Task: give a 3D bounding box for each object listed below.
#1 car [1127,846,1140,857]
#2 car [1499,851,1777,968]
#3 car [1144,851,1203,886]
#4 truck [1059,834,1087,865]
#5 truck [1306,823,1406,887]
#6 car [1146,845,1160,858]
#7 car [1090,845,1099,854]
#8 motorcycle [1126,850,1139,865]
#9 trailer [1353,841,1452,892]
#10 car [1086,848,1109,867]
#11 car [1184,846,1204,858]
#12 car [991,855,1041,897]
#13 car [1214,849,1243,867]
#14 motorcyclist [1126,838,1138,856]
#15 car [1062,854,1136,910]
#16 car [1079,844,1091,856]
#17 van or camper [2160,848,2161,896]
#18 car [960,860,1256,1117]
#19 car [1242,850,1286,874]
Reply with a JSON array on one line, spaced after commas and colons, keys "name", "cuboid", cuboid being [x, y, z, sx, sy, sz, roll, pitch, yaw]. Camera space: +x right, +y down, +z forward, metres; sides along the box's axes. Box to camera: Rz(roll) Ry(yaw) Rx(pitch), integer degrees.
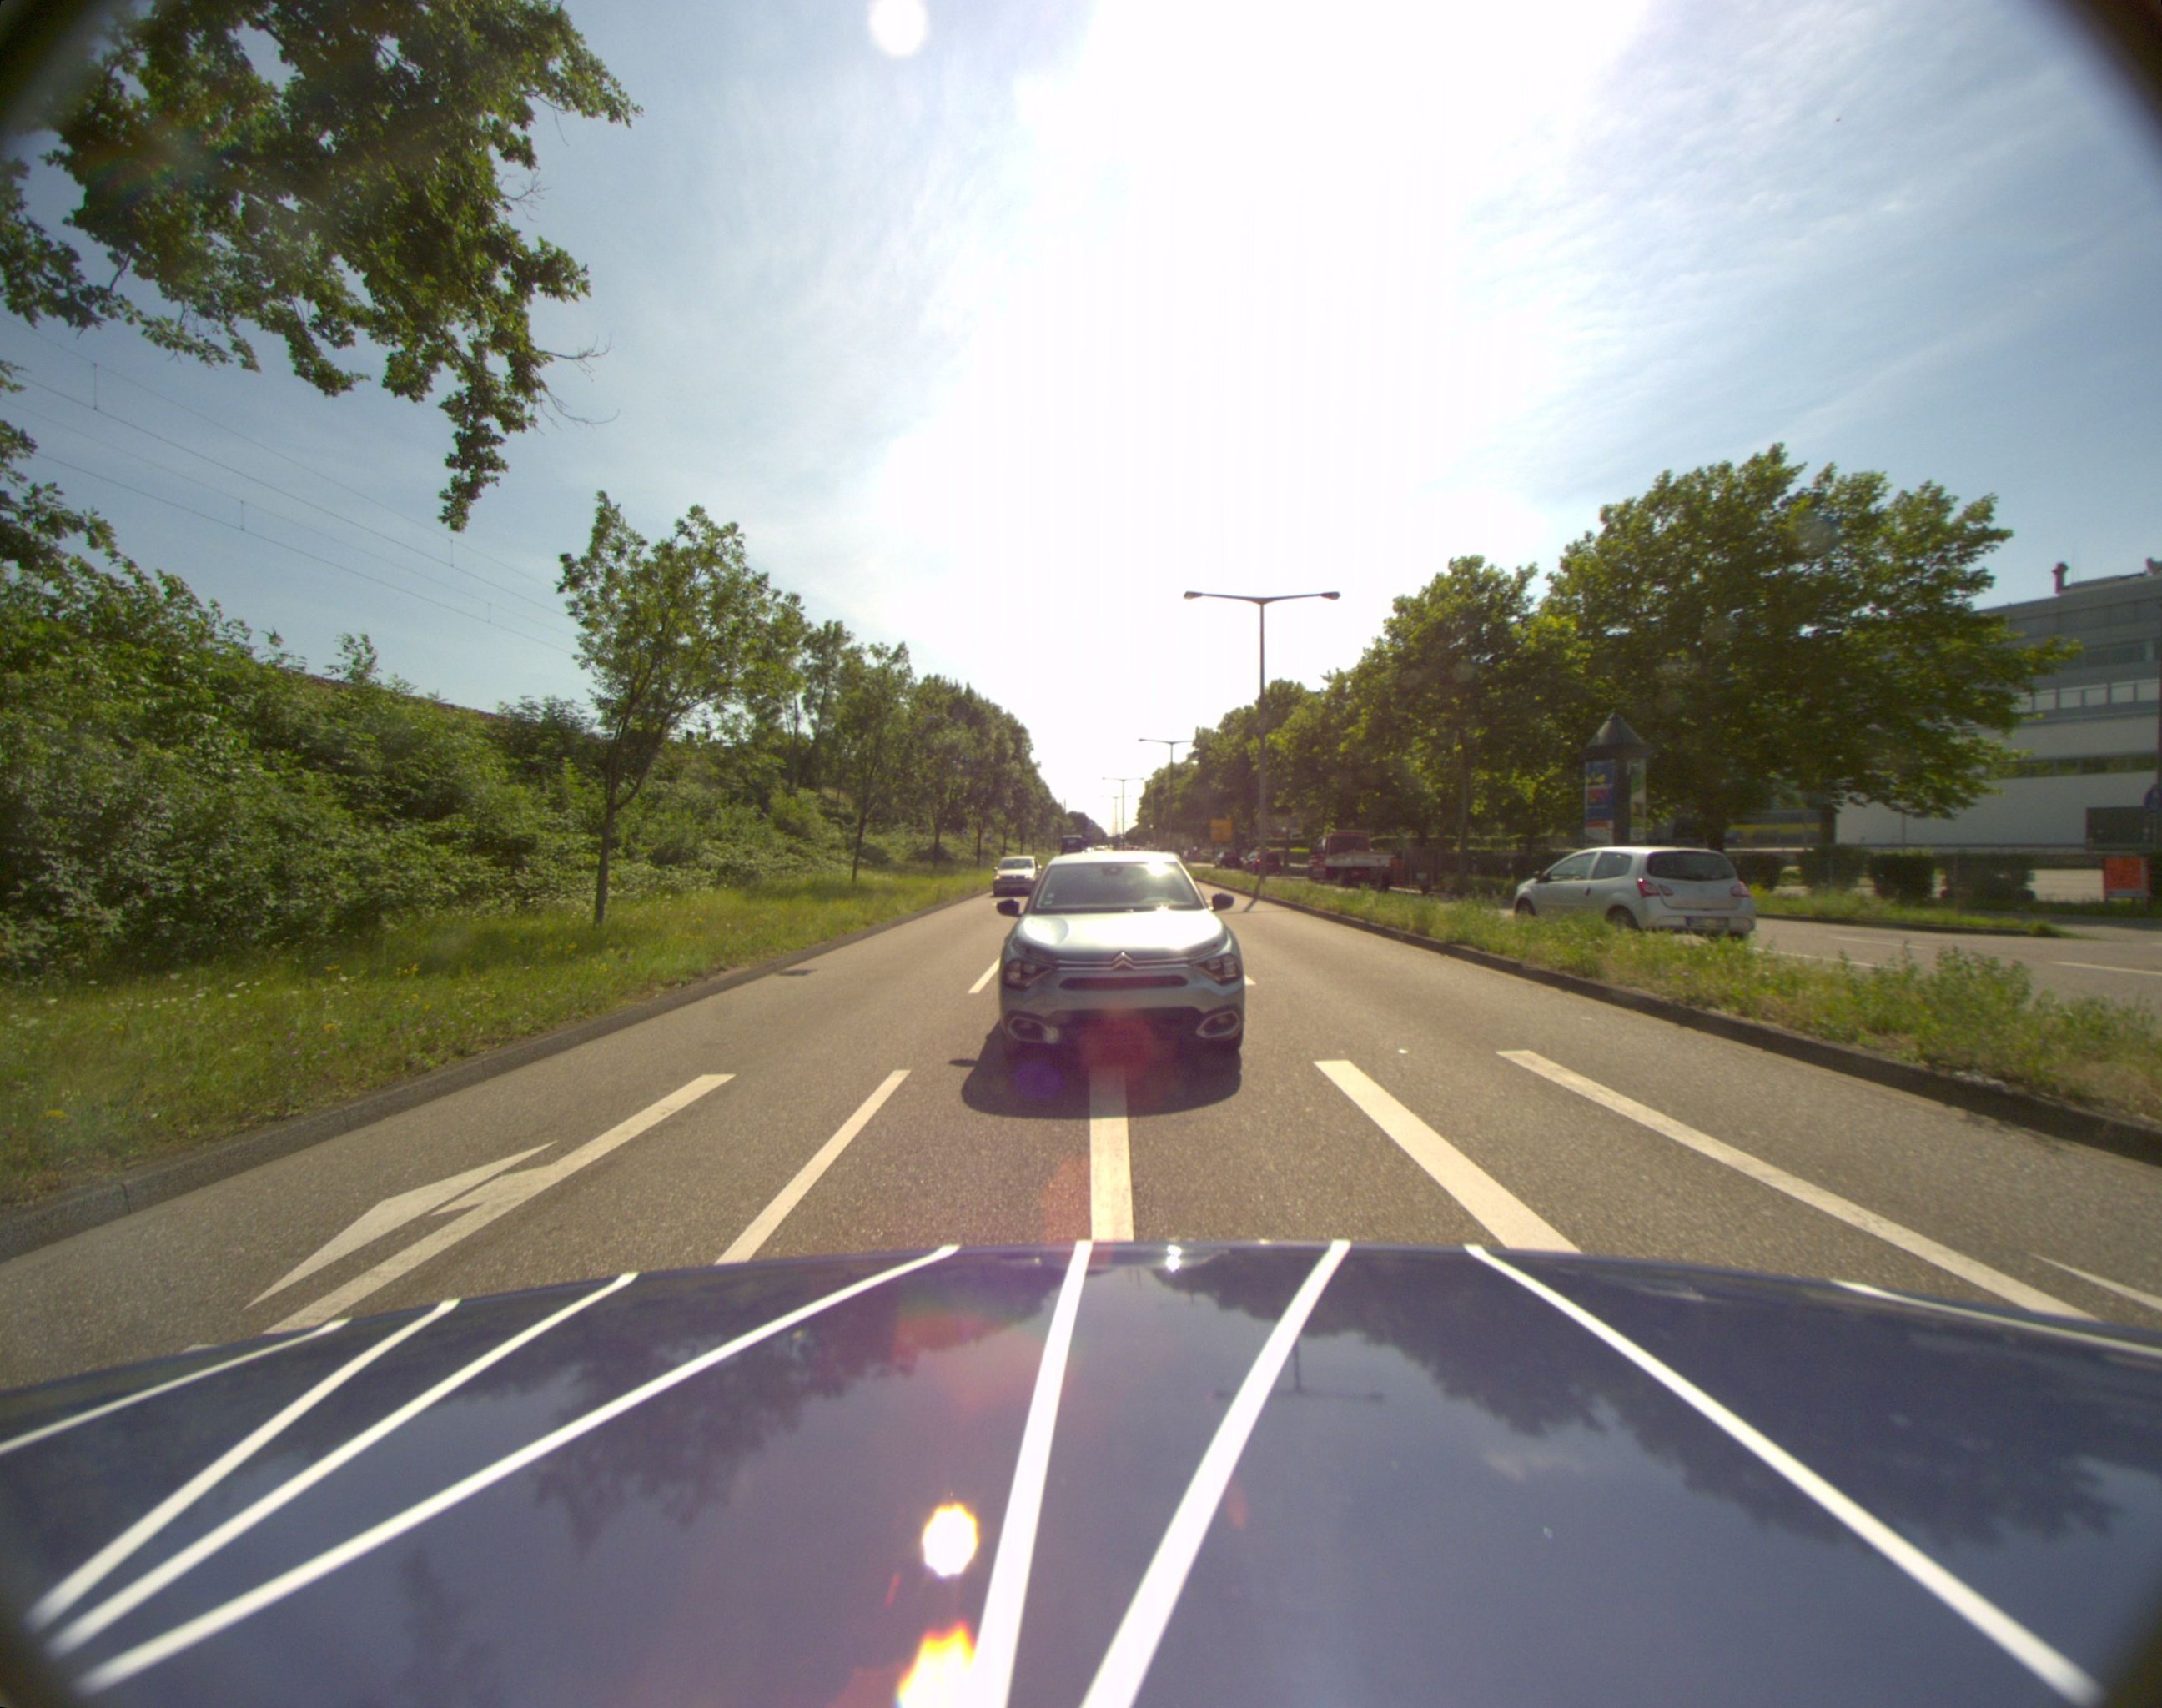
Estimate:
[{"name": "car", "cuboid": [9.331, -0.453, 135.745, 1.998, 2.002, 4.000, -1, 1, 1]}, {"name": "car", "cuboid": [8.374, 0.728, 11.895, 1.653, 1.505, 3.735, -1, 0, 1]}, {"name": "car", "cuboid": [4.207, 0.611, 34.010, 1.728, 1.354, 4.072, -2, 1, 19]}, {"name": "truck", "cuboid": [-0.842, -0.509, 82.894, 2.775, 3.248, 7.482, 0, 1, 1]}, {"name": "truck", "cuboid": [11.783, 0.017, 33.233, 2.144, 2.461, 7.130, -1, 1, 3]}, {"name": "car", "cuboid": [11.862, -0.455, 124.922, 1.998, 2.002, 4.000, -1, 1, 1]}, {"name": "car", "cuboid": [2.951, -0.995, 170.520, 1.998, 2.002, 4.000, -1, 1, 1]}, {"name": "motorcycle", "cuboid": [4.821, 0.349, 71.191, 1.052, 1.343, 2.331, -1, 1, 0]}, {"name": "trailer", "cuboid": [11.570, 0.420, 27.676, 2.066, 1.706, 3.991, -1, 1, 2]}, {"name": "car", "cuboid": [1.365, 0.284, 62.686, 1.826, 1.521, 4.547, -1, 0, 2]}, {"name": "car", "cuboid": [13.849, -0.256, 93.499, 1.844, 1.414, 4.221, 1, 0, 0]}, {"name": "car", "cuboid": [-2.406, 0.791, 29.057, 1.705, 1.429, 3.677, -2, 1, -2]}, {"name": "car", "cuboid": [12.528, 0.303, 64.728, 1.843, 1.414, 3.894, 1, 1, 2]}, {"name": "motorcyclist", "cuboid": [4.784, -0.657, 71.381, 1.066, 1.689, 1.042, -1, 1, 0]}, {"name": "car", "cuboid": [0.524, 0.770, 22.811, 1.998, 1.492, 4.000, -1, 0, 1]}, {"name": "car", "cuboid": [0.659, -0.629, 128.911, 1.998, 2.002, 4.000, -1, 1, 1]}, {"name": "van or camper", "cuboid": [39.502, 0.637, 25.022, 2.004, 1.682, 4.500, -1, 1, -37]}, {"name": "car", "cuboid": [0.251, 0.859, 7.100, 1.826, 1.521, 4.752, -1, 0, 2]}, {"name": "car", "cuboid": [11.512, 0.511, 48.073, 1.853, 1.426, 3.767, 0, 0, -1]}]
